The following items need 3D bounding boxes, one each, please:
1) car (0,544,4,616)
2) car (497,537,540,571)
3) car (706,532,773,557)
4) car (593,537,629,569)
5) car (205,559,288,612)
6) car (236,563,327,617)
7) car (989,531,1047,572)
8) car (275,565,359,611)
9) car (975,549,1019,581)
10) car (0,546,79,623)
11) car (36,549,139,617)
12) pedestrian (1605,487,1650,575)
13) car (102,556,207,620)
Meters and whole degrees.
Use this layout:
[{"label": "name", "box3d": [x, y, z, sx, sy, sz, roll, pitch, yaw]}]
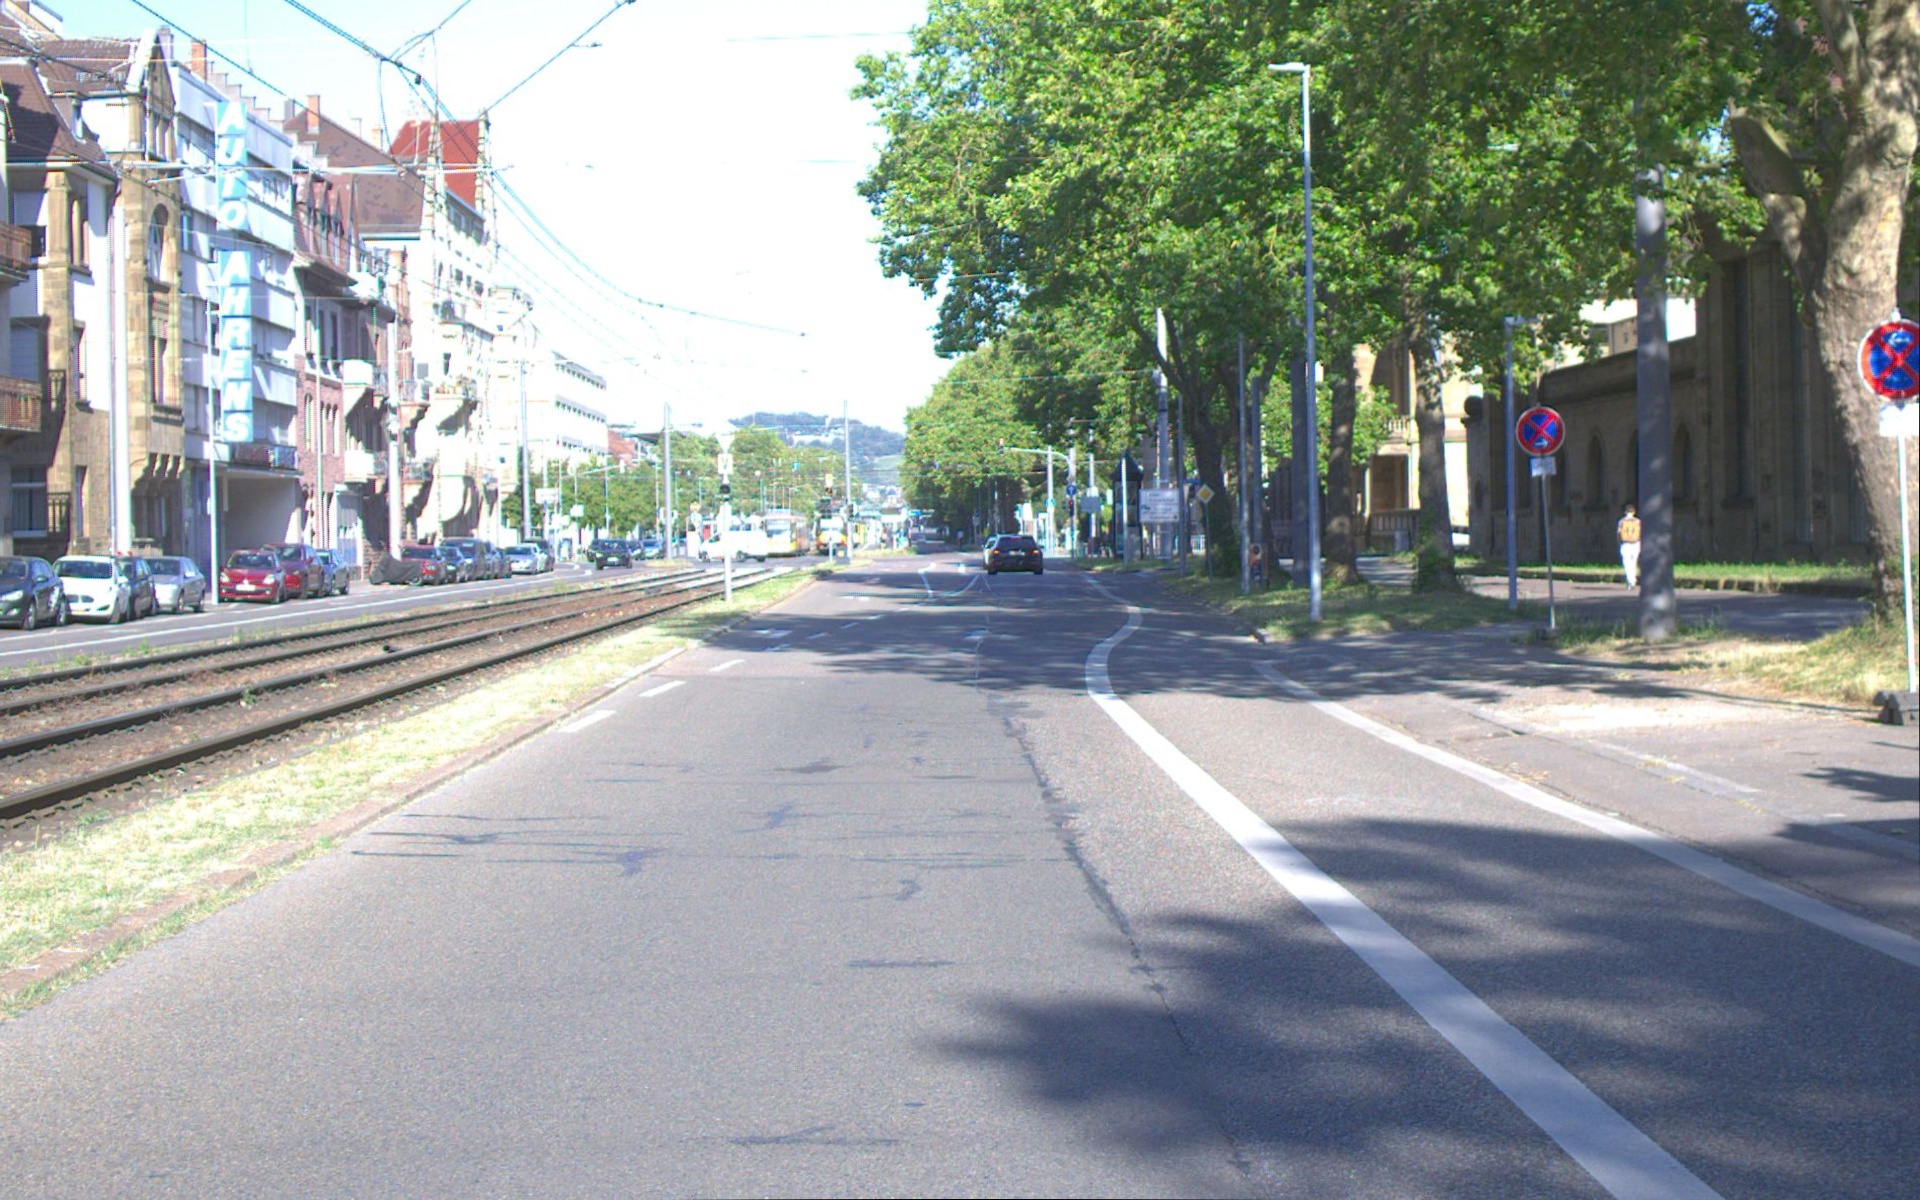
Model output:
[{"label": "car", "box3d": [-19.302, -0.375, 64.828, 1.627, 1.386, 3.509, 2, 1, -2]}, {"label": "car", "box3d": [-21.027, -2.183, 163.829, 1.794, 1.505, 4.001, 2, 1, -5]}, {"label": "car", "box3d": [-13.588, -3.410, 211.589, 3.997, 1.505, 1.796, 1, 0, 42]}, {"label": "car", "box3d": [-18.429, -2.477, 181.805, 1.635, 1.596, 4.160, -2, 1, -3]}, {"label": "car", "box3d": [-20.128, -0.433, 97.096, 1.833, 1.386, 4.036, 2, 1, -6]}, {"label": "car", "box3d": [-20.207, -0.322, 102.469, 1.833, 1.553, 4.353, 0, 1, 0]}, {"label": "car", "box3d": [2.021, -1.701, 120.524, 1.833, 1.386, 4.159, 0, 1, -1]}, {"label": "car", "box3d": [-20.160, -0.398, 107.940, 1.833, 1.386, 4.682, 0, 1, -1]}, {"label": "car", "box3d": [1.679, -1.598, 155.846, 1.833, 1.386, 4.159, 0, 1, -1]}, {"label": "car", "box3d": [-19.416, -0.345, 70.535, 1.635, 1.464, 4.159, 2, 1, -1]}, {"label": "car", "box3d": [-19.178, -0.372, 75.677, 1.635, 1.464, 3.984, 0, 0, -6]}, {"label": "pedestrian", "box3d": [13.068, -1.346, 67.317, 0.608, 1.676, 0.636, -5, 1, -3]}, {"label": "car", "box3d": [-19.807, -0.321, 84.641, 1.635, 1.464, 4.159, 0, 2, 0]}]
